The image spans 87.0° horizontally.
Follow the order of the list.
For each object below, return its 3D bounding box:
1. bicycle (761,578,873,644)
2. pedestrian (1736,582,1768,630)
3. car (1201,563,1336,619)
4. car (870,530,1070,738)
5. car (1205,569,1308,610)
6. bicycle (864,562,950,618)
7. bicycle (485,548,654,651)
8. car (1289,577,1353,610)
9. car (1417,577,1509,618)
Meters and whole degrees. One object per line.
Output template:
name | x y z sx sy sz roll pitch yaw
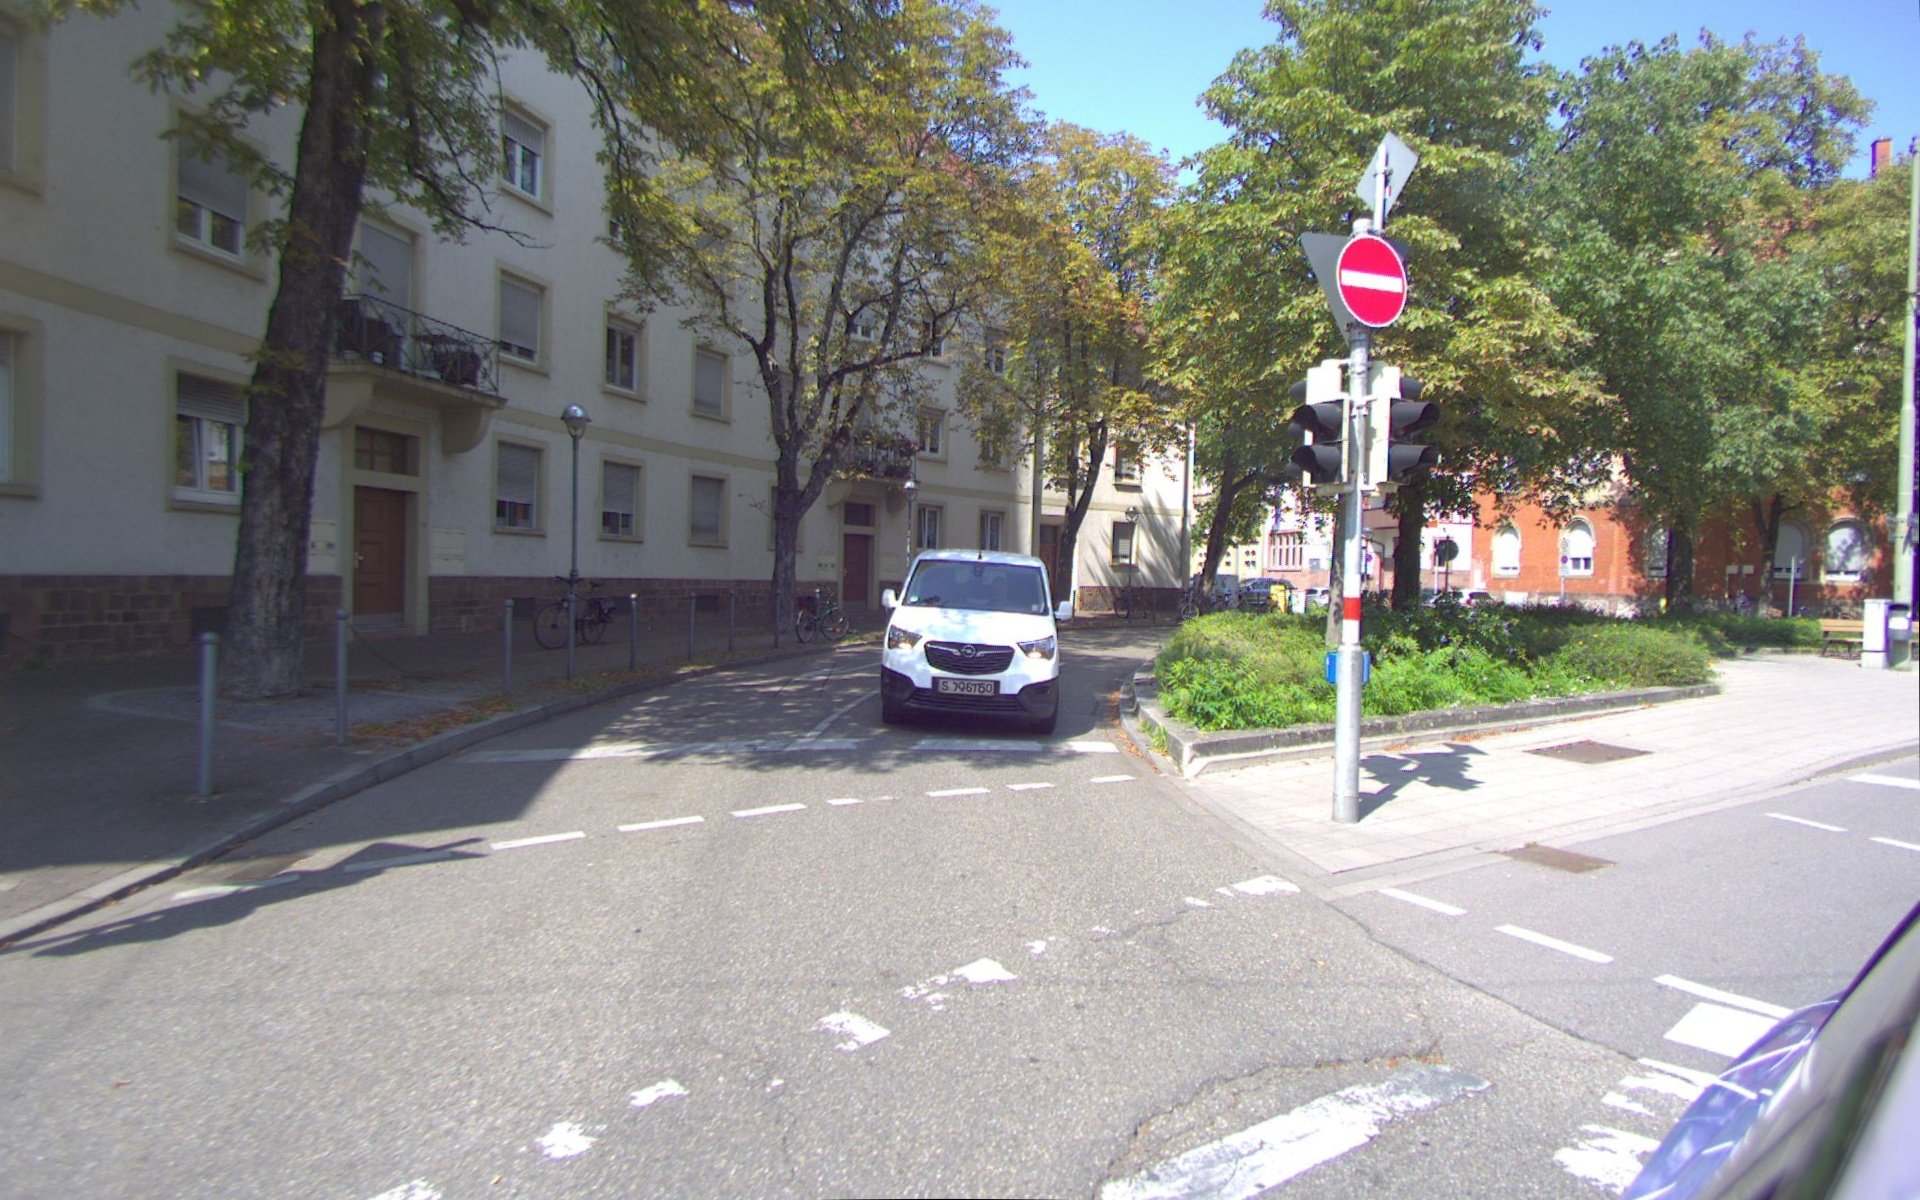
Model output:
bicycle | -2.769 0.190 19.798 0.806 1.139 2.240 6 4 35
pedestrian | 31.993 0.224 40.914 0.667 1.908 0.918 2 1 18
car | 11.291 -0.350 37.237 4.332 1.834 1.805 2 2 0
car | 0.183 0.241 11.427 1.771 1.834 4.414 2 2 3
car | 14.243 -0.516 48.688 4.328 1.834 1.806 2 1 -5
bicycle | -1.408 -0.265 27.176 2.315 1.427 0.889 0 1 -45
bicycle | -6.157 -0.027 16.193 1.009 1.470 2.674 3 1 19
car | 22.009 -0.410 61.938 1.767 1.834 4.424 2 2 -8
car | 24.488 -0.171 49.471 1.767 1.834 4.424 2 2 -8
